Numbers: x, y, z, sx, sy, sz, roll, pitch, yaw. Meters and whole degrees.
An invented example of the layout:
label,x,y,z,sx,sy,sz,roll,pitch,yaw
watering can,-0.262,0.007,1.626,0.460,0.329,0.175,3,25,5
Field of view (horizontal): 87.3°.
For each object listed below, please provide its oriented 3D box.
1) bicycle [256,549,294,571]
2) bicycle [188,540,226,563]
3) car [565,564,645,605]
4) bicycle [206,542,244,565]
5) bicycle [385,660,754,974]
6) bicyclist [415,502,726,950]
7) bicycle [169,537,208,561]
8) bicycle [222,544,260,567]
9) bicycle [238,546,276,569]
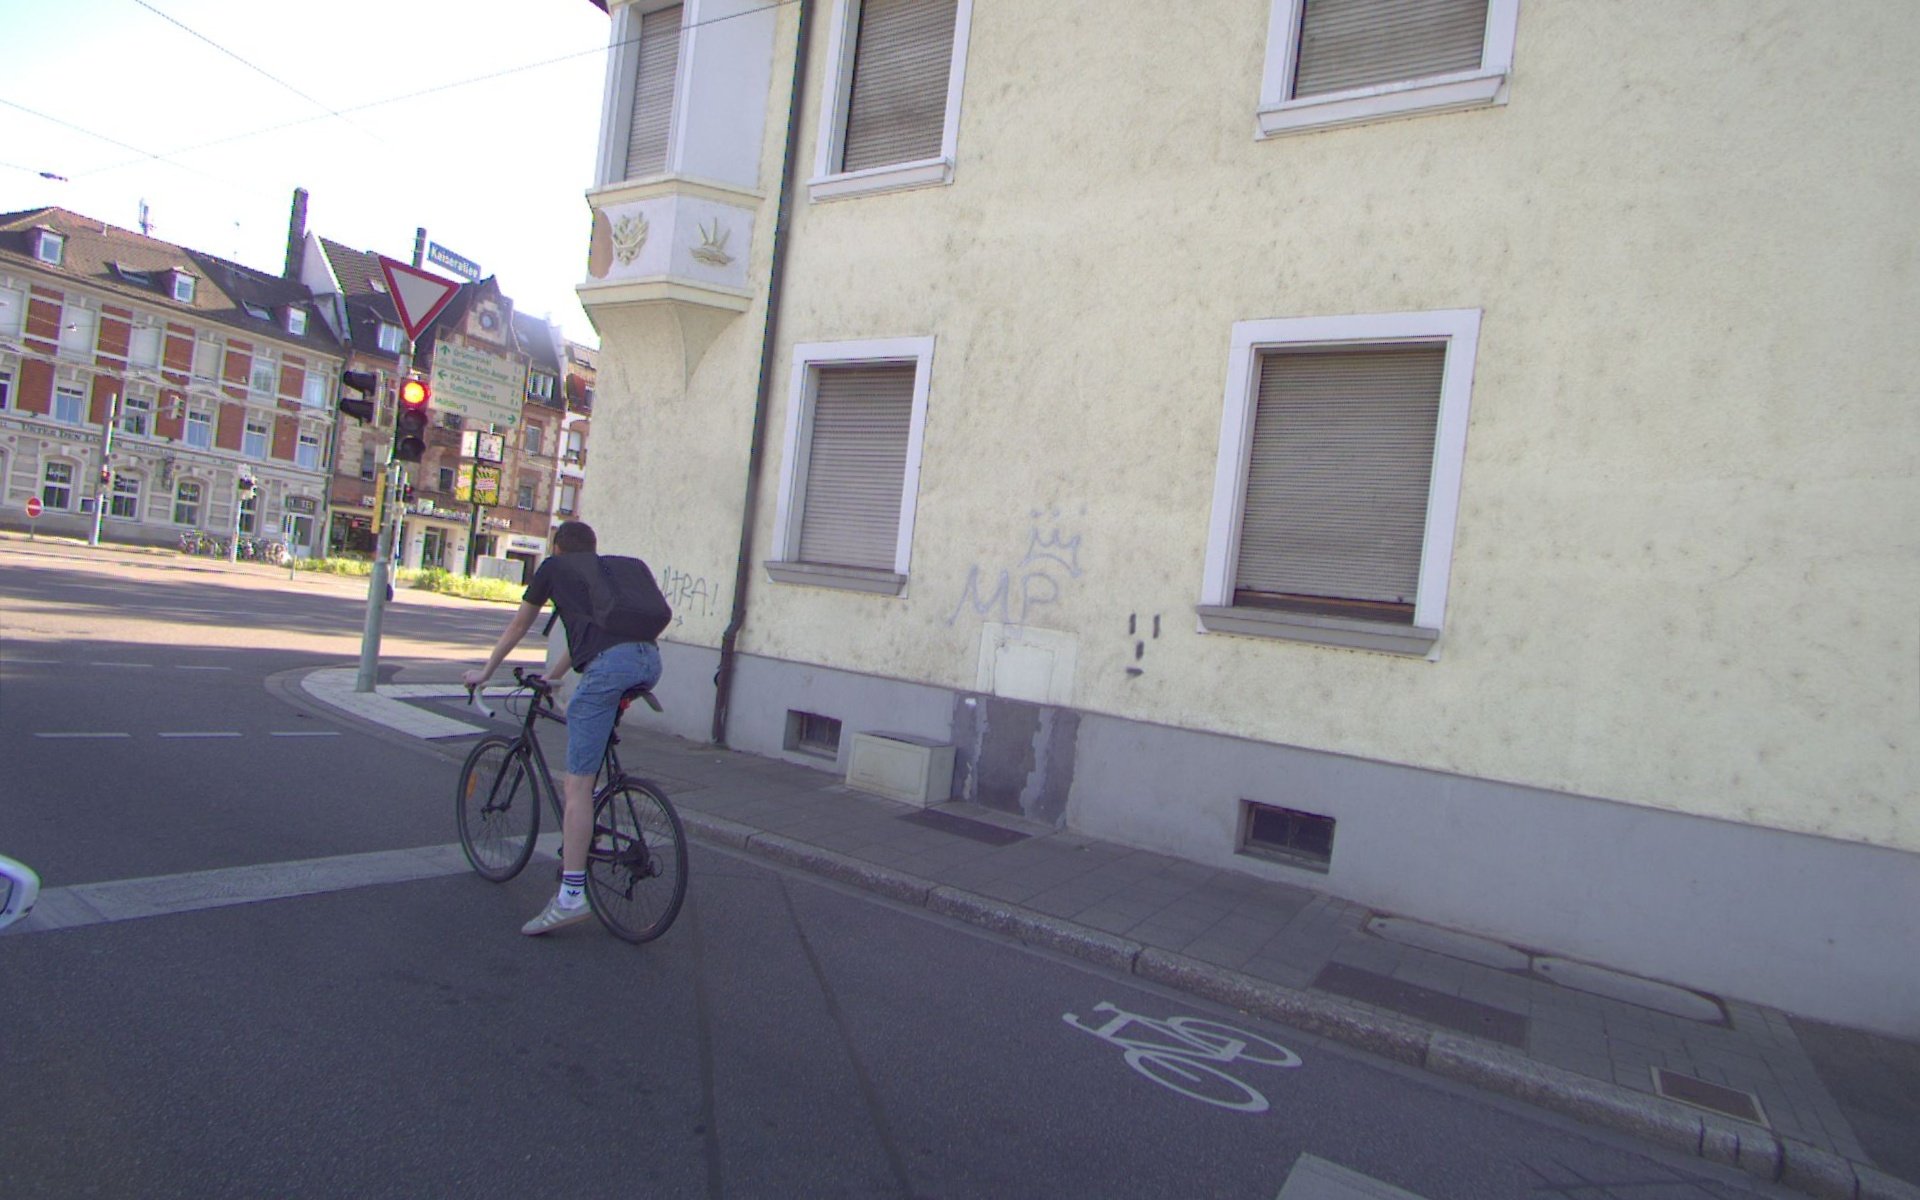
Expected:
label,x,y,z,sx,sy,sz,roll,pitch,yaw
bicycle,-33.102,-1.941,48.602,2.125,0.850,0.659,6,-2,33
bicycle,-34.553,-2.230,46.149,2.125,0.850,0.659,6,-2,33
car,-23.011,-0.999,65.328,1.968,2.038,4.430,7,-1,34
bicycle,-34.180,-2.156,46.770,2.125,0.850,0.659,6,-2,33
bicycle,-1.793,0.876,4.509,1.721,0.982,0.519,7,0,32
bicyclist,-1.745,0.492,4.488,1.098,1.722,0.573,7,0,32
bicycle,-34.870,-2.299,45.482,2.125,0.850,0.659,6,-2,33
bicycle,-33.846,-2.089,47.366,2.125,0.850,0.659,6,-2,33
bicycle,-33.490,-2.021,47.897,2.125,0.850,0.659,6,-2,33
